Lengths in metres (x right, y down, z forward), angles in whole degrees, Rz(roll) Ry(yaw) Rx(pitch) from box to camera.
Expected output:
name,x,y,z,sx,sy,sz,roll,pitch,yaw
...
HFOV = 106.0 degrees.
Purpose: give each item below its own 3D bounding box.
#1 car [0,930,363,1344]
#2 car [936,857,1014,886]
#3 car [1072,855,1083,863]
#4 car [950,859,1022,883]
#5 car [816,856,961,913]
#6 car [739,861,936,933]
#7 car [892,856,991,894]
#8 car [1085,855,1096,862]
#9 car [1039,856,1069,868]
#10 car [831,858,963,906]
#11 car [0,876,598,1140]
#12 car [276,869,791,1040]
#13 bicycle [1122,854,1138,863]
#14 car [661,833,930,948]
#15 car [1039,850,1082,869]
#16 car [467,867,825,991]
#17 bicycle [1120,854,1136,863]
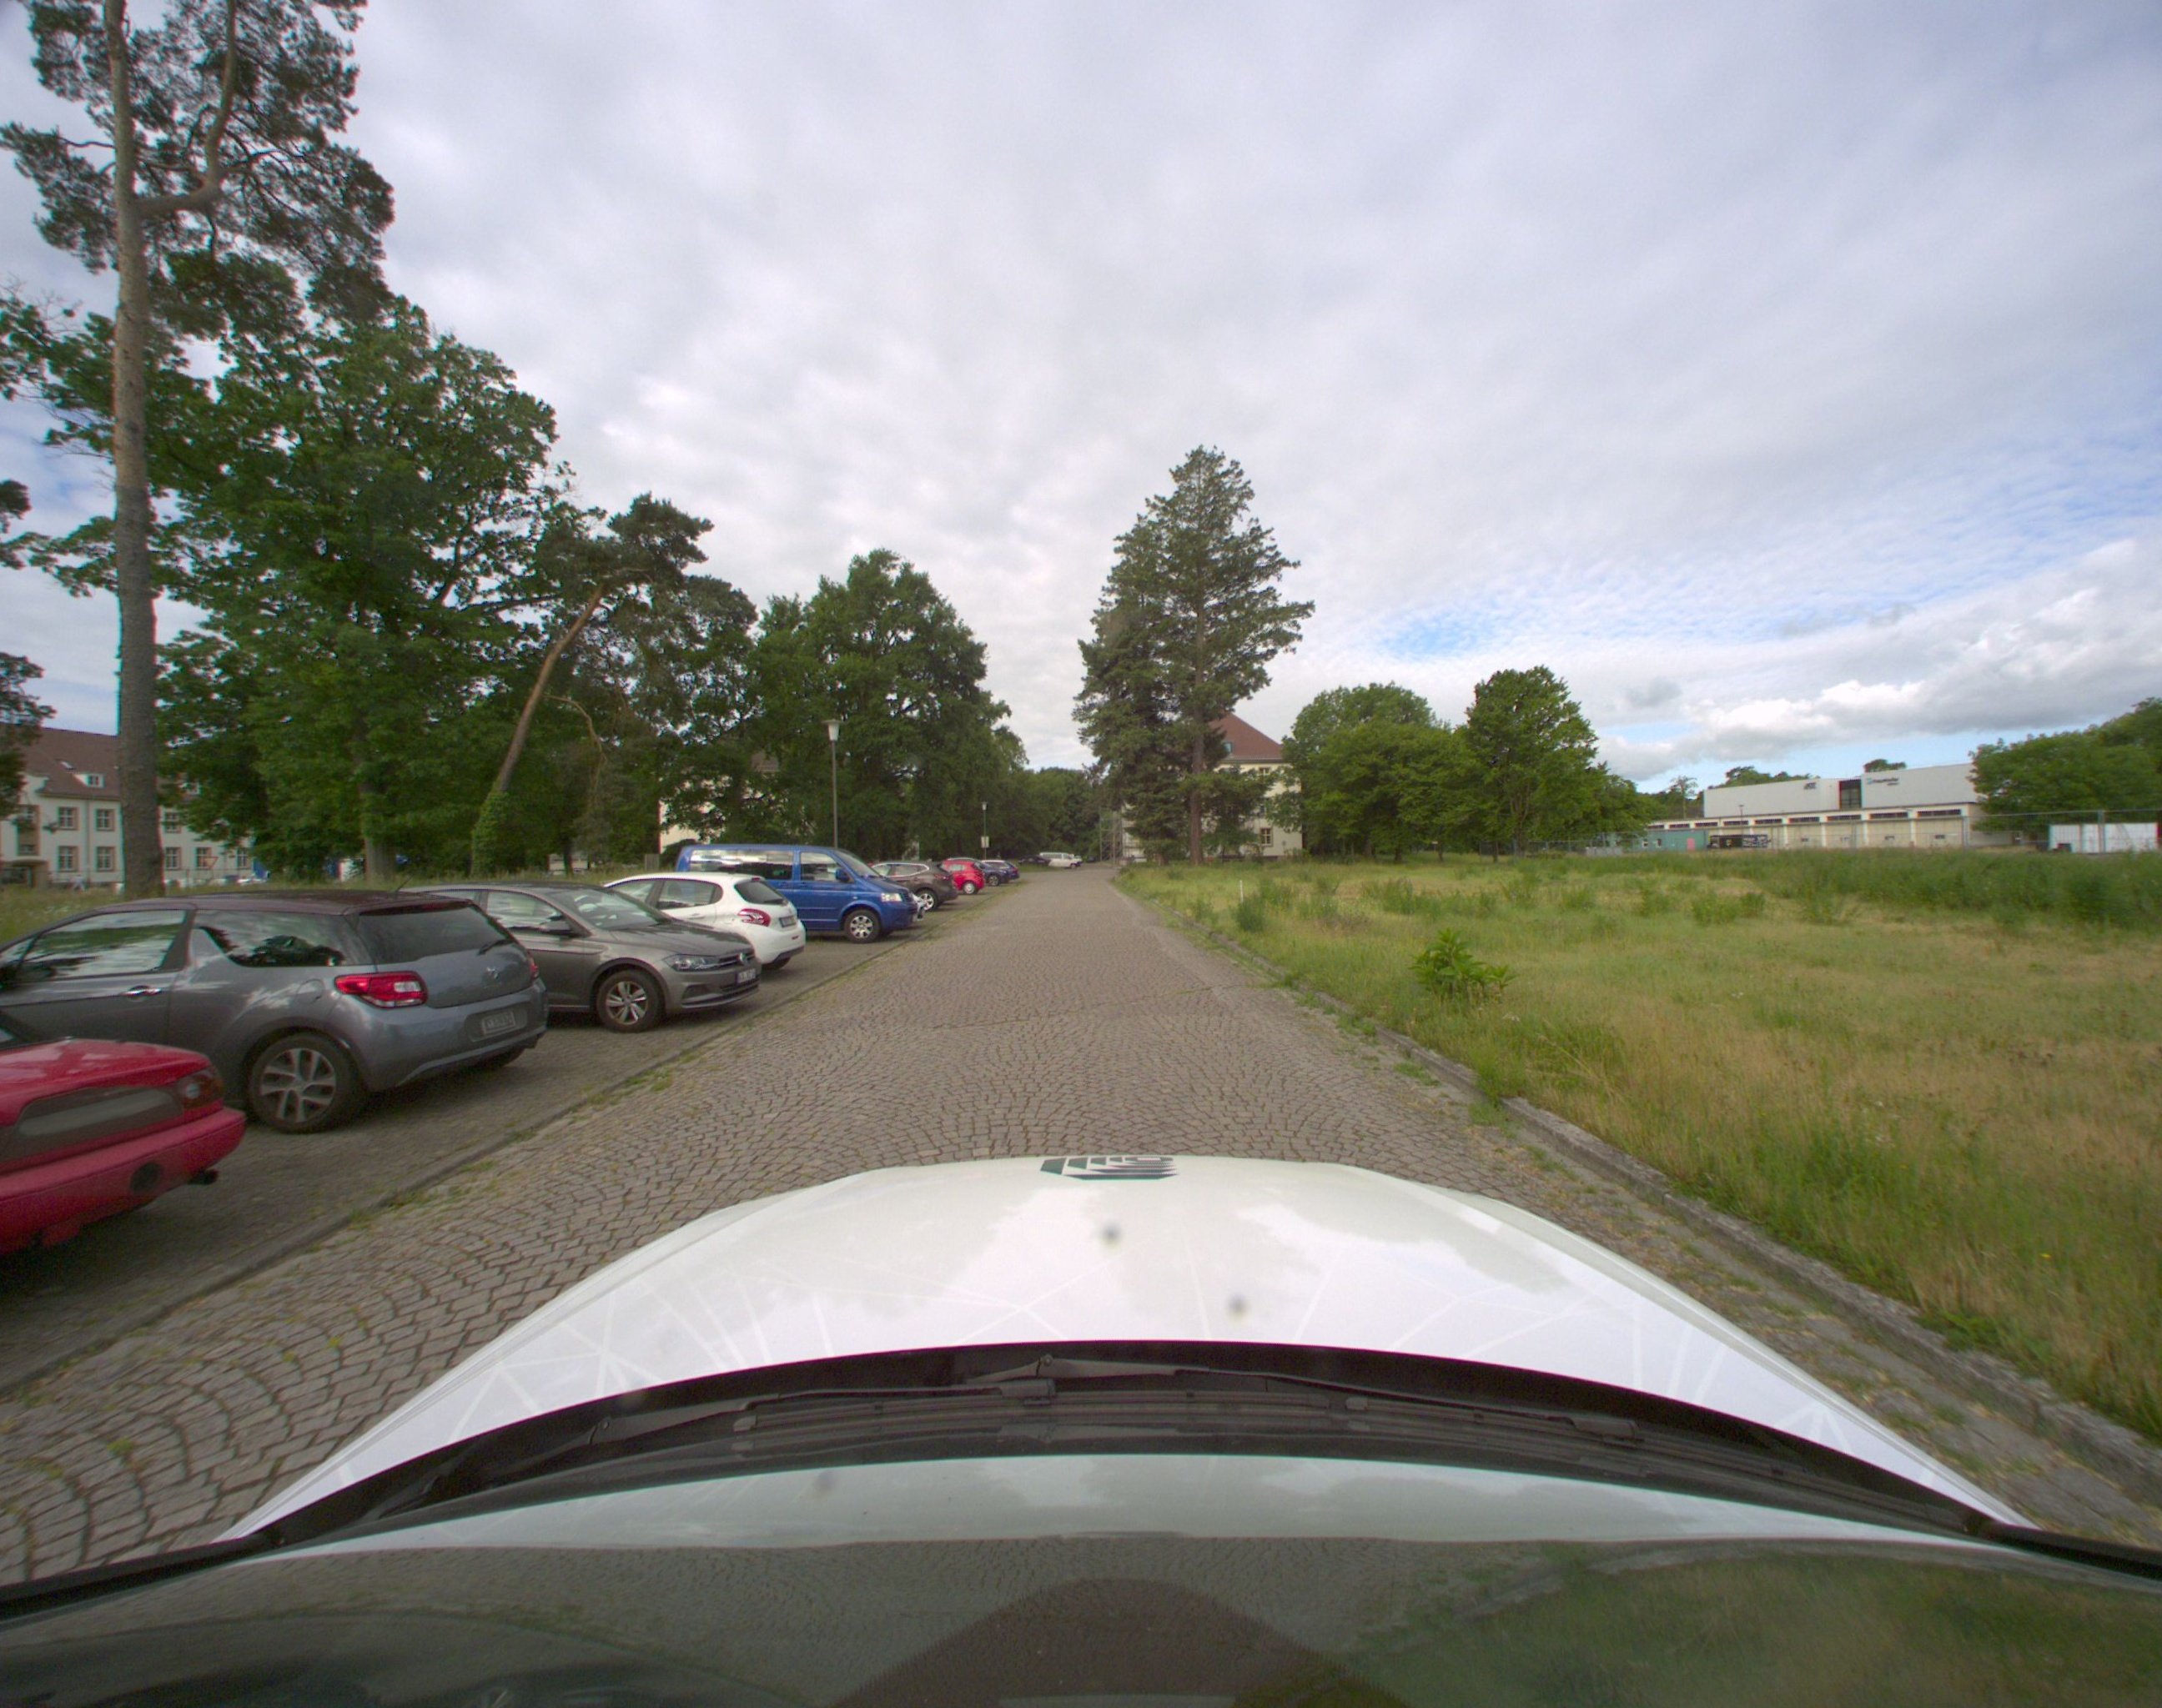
name,x,y,z,sx,sy,sz,roll,pitch,yaw
car,-5.736,1.070,3.201,4.152,1.266,1.831,-1,0,0
car,-6.011,0.967,46.395,4.217,1.577,1.885,0,0,-3
car,-0.772,1.003,166.039,2.113,1.521,3.997,-1,0,-2
car,-5.921,1.063,51.130,4.288,1.461,1.975,0,0,0
car,-5.995,0.926,25.792,4.157,1.622,1.984,-1,0,-4
car,-5.709,0.990,19.506,4.157,1.510,1.779,-1,0,-3
car,-6.142,0.924,36.158,4.045,1.525,1.903,-1,0,-3
car,1.895,0.930,166.393,1.946,1.521,3.997,-1,0,-2
car,-3.414,1.036,102.589,3.781,1.395,1.997,-1,0,-4
car,-6.355,0.960,28.524,4.155,1.510,1.906,-1,0,-2
car,-6.126,0.973,5.848,4.153,1.482,1.845,-1,0,0
car,-5.524,0.968,8.645,4.152,1.491,1.865,-1,0,0
bicycle,6.830,0.608,113.177,2.232,1.254,0.778,-1,-1,1
car,-5.744,0.699,16.918,4.769,2.122,2.114,-1,0,-2
car,-2.539,0.697,100.018,5.223,2.168,1.998,-1,0,-4
car,-5.995,0.998,11.619,4.055,1.497,1.845,-1,0,0
bicycle,6.739,0.657,117.430,2.232,1.254,0.778,-1,-1,1
